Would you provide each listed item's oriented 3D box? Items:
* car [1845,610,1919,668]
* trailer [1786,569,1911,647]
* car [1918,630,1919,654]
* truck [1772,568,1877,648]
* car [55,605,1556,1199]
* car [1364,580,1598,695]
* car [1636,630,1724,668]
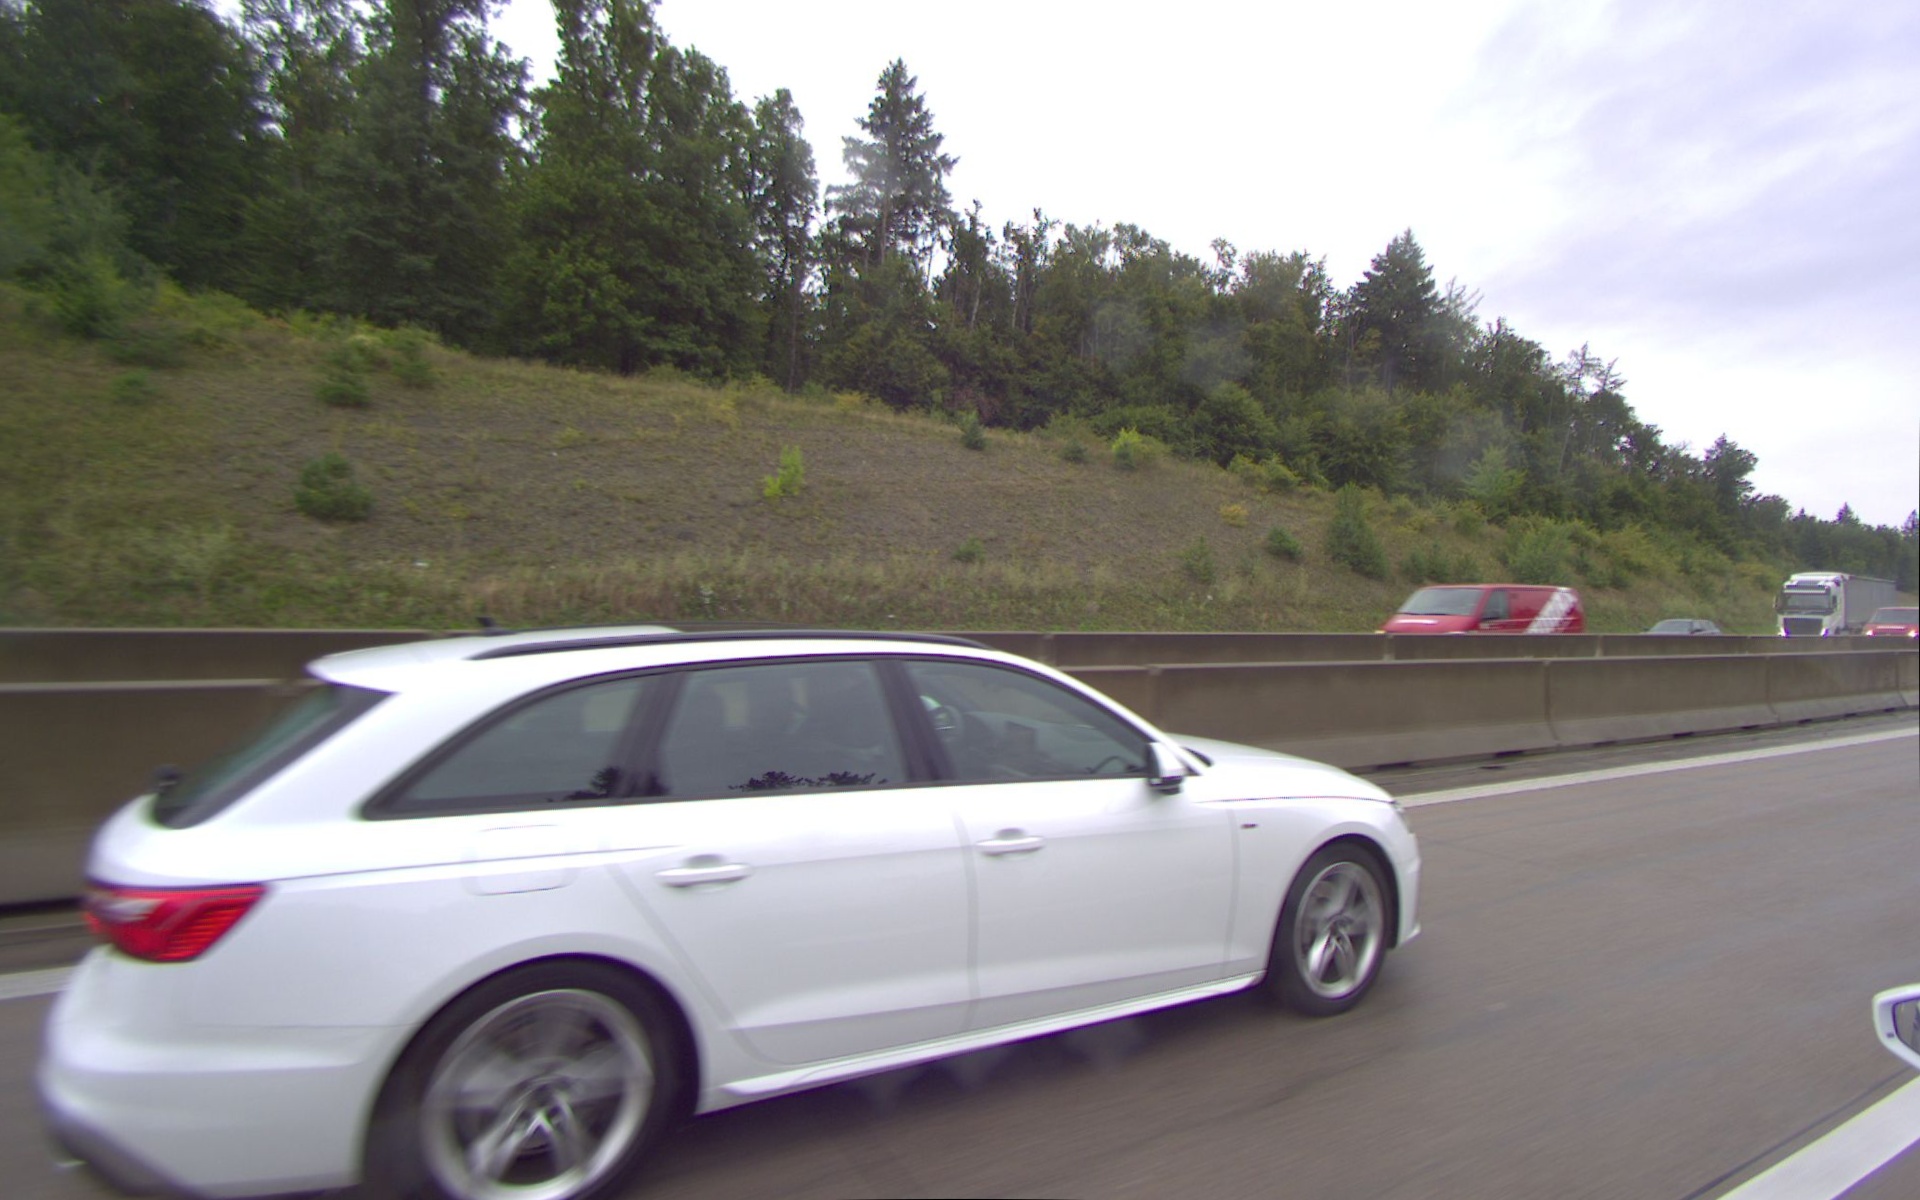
[{"bbox_3d":[36.348,1.476,38.770,5.275,2.110,1.982,1,0,-33],"label":"car"},{"bbox_3d":[54.102,0.566,60.967,13.581,4.341,2.727,1,0,-36],"label":"trailer"},{"bbox_3d":[59.490,2.558,60.751,3.962,1.411,1.610,1,0,-36],"label":"car"},{"bbox_3d":[50.094,0.501,58.105,8.233,4.341,2.727,1,0,-36],"label":"truck"},{"bbox_3d":[0.031,0.785,3.826,4.877,1.426,1.704,2,-1,-30],"label":"car"},{"bbox_3d":[10.844,0.743,20.768,5.275,2.110,1.982,1,0,-33],"label":"car"},{"bbox_3d":[28.442,1.896,39.669,3.960,1.411,1.611,1,0,-35],"label":"car"}]
